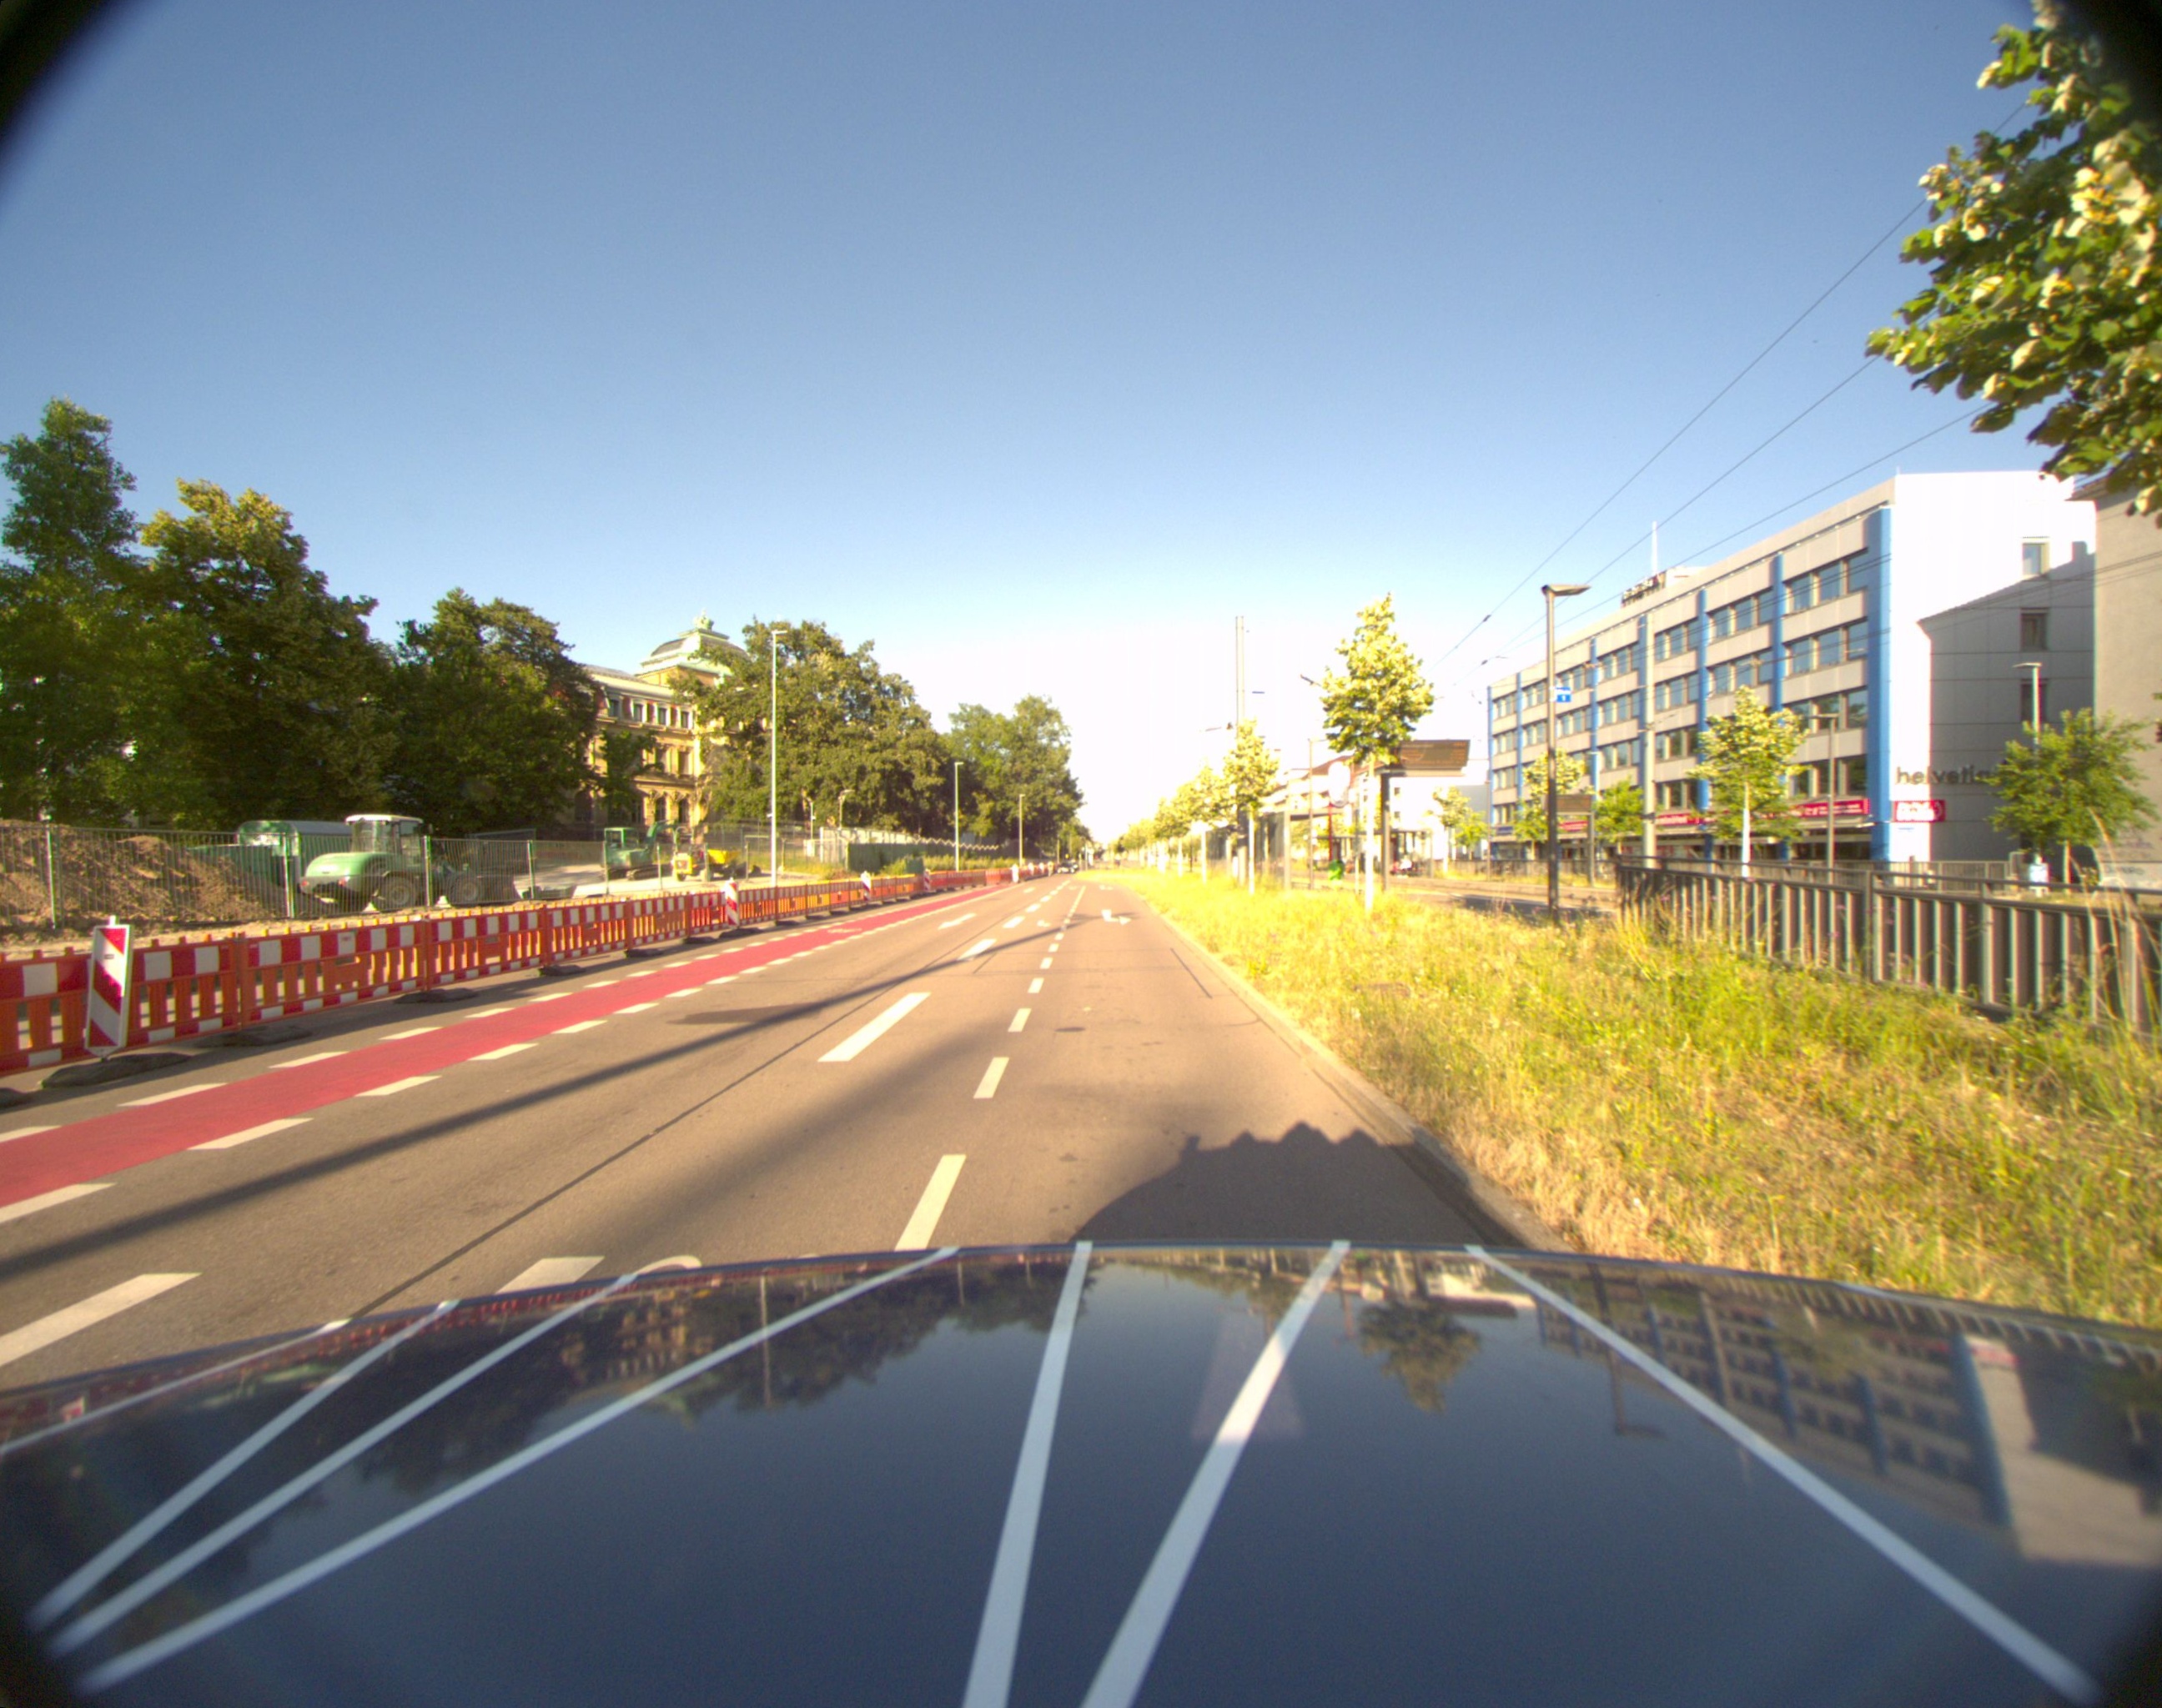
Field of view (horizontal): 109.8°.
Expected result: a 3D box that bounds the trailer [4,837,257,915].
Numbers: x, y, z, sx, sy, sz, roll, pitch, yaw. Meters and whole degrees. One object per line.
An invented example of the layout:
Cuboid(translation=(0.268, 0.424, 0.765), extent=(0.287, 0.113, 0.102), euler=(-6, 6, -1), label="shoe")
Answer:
Cuboid(translation=(-30.833, 0.667, 24.818), extent=(5.044, 2.311, 2.221), euler=(0, 5, -2), label="trailer")

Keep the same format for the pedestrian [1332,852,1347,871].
Cuboid(translation=(18.768, 0.542, 55.157), extent=(0.840, 1.402, 0.804), euler=(0, 0, 1), label="pedestrian")

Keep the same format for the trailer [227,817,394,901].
Cuboid(translation=(-31.562, 0.098, 31.356), extent=(2.616, 3.075, 3.981), euler=(0, 5, -2), label="trailer")

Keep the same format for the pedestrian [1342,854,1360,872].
Cuboid(translation=(18.678, 0.618, 52.587), extent=(0.936, 1.190, 0.764), euler=(0, 0, 1), label="pedestrian")

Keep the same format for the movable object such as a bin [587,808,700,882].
Cuboid(translation=(-22.536, -0.435, 39.470), extent=(2.280, 3.536, 5.501), euler=(0, 0, 6), label="movable object such as a bin")

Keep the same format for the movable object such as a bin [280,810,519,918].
Cuboid(translation=(-19.059, 0.257, 21.675), extent=(2.281, 2.688, 4.942), euler=(0, 0, 1), label="movable object such as a bin")

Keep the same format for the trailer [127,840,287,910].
Cuboid(translation=(-31.696, 0.712, 27.666), extent=(2.954, 2.311, 2.221), euler=(0, 5, -2), label="trailer")

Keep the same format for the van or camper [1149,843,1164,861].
Cuboid(translation=(13.863, -0.337, 139.376), extent=(2.510, 3.149, 7.478), euler=(-1, 0, 4), label="van or camper")

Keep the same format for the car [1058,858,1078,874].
Cuboid(translation=(-1.469, 1.347, 88.621), extent=(2.080, 1.827, 4.000), euler=(0, 0, 2), label="car")

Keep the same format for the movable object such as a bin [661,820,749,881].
Cuboid(translation=(-18.777, -0.166, 38.185), extent=(1.997, 2.887, 4.002), euler=(0, 0, 8), label="movable object such as a bin")
